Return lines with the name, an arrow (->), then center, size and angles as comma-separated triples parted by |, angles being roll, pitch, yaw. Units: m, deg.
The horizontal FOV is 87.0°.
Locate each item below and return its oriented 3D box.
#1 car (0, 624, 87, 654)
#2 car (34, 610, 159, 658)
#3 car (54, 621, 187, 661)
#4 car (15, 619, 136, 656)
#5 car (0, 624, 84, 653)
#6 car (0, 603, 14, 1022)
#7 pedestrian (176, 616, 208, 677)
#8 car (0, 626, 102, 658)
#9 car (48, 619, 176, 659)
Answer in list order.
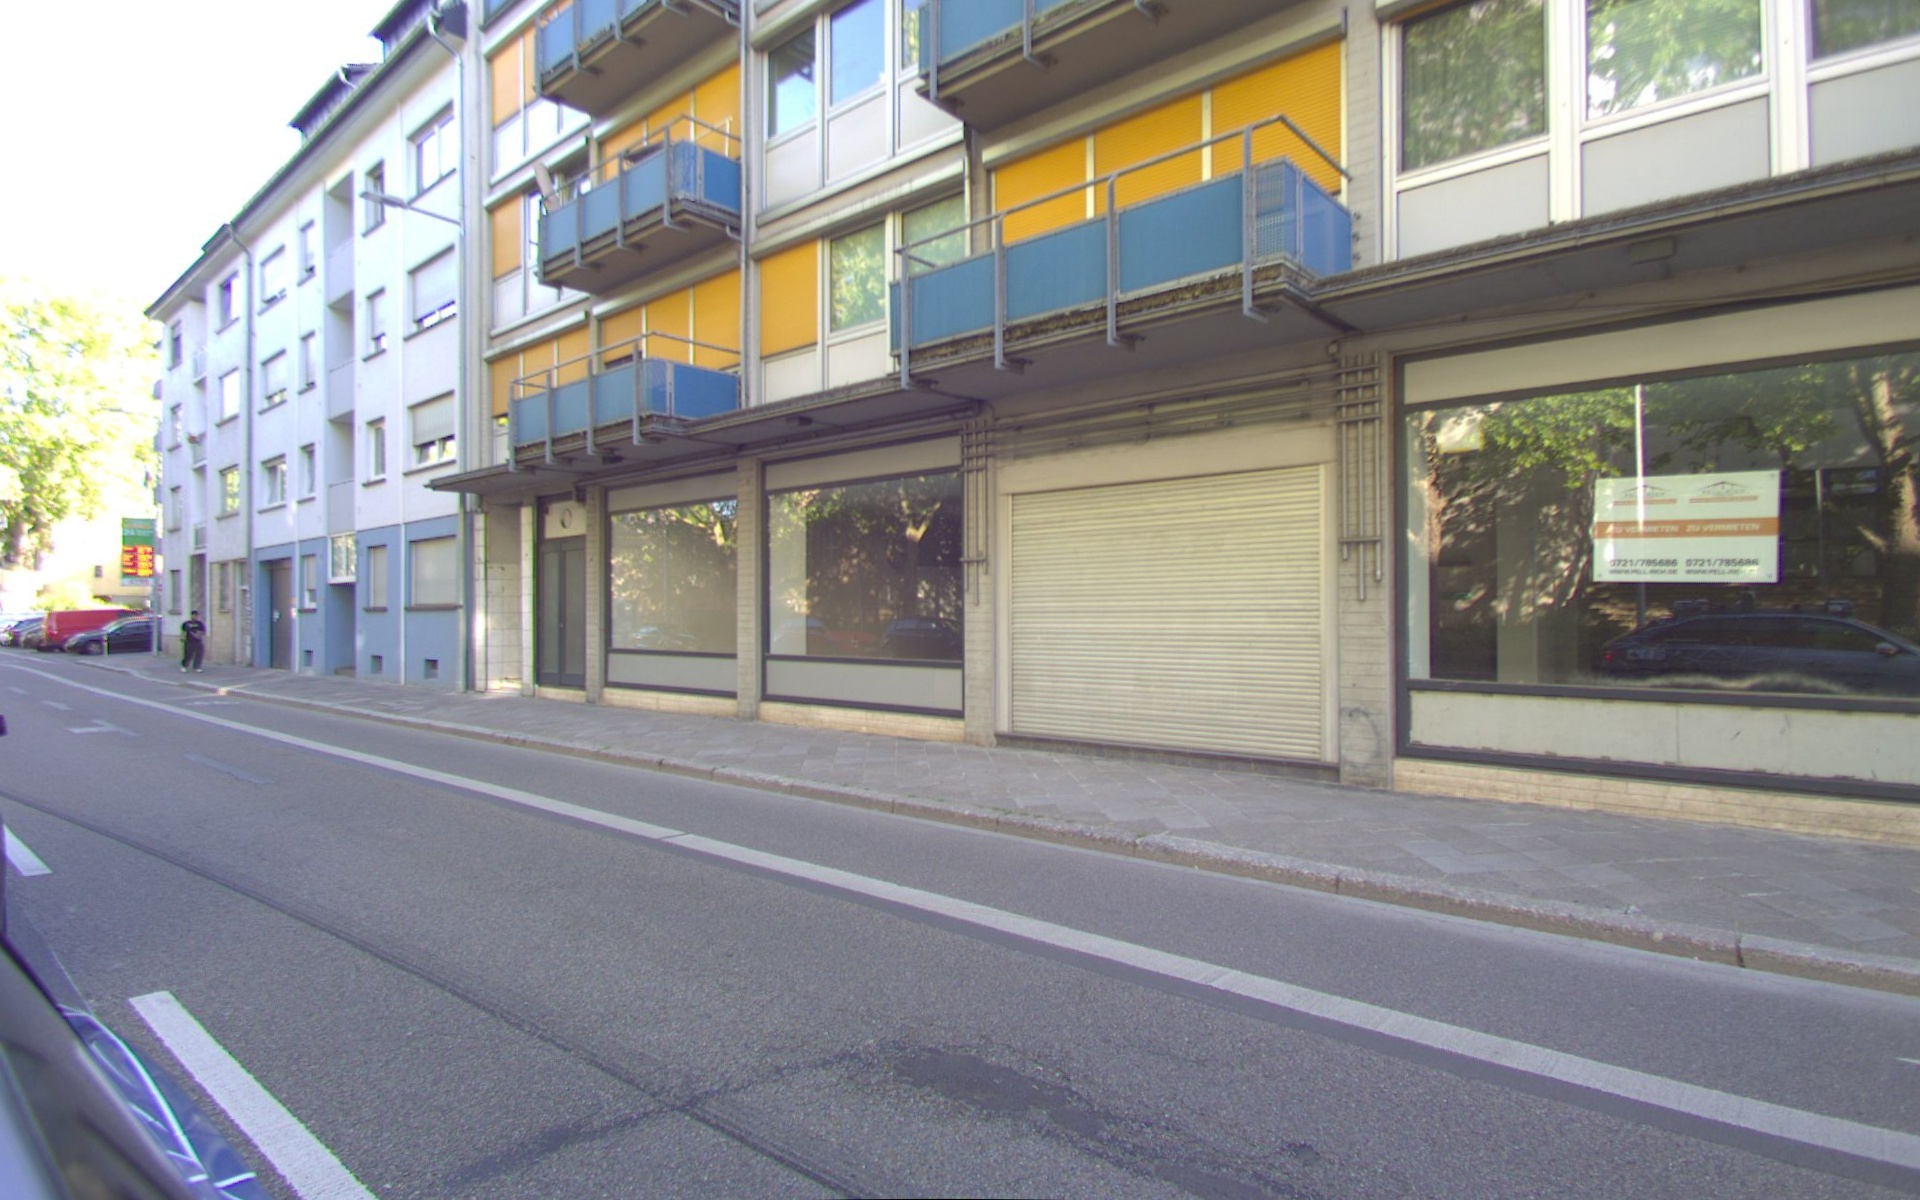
car -> -54.506, 2.279, 59.790 | 1.652, 1.480, 4.201 | -1, 1, 41
car -> -40.577, 1.560, 47.619 | 1.817, 1.933, 4.202 | -1, 1, 40
car -> -36.503, 1.745, 44.094 | 1.652, 1.411, 4.201 | -1, 1, 41
car -> -42.766, 1.791, 49.015 | 1.652, 1.480, 4.201 | -1, 1, 41
car -> -55.888, 2.299, 61.197 | 1.652, 1.480, 4.201 | -1, 1, 41
car -> -5.651, 0.800, 4.406 | 4.300, 1.510, 1.826 | -1, -1, 41
pedestrian -> -21.841, 1.316, 28.792 | 0.655, 1.708, 0.604 | -2, -1, 41
car -> -50.473, 2.293, 56.105 | 1.652, 1.480, 4.201 | -1, 1, 41
car -> -38.196, 1.732, 45.657 | 1.652, 1.480, 4.201 | -1, 1, 41
